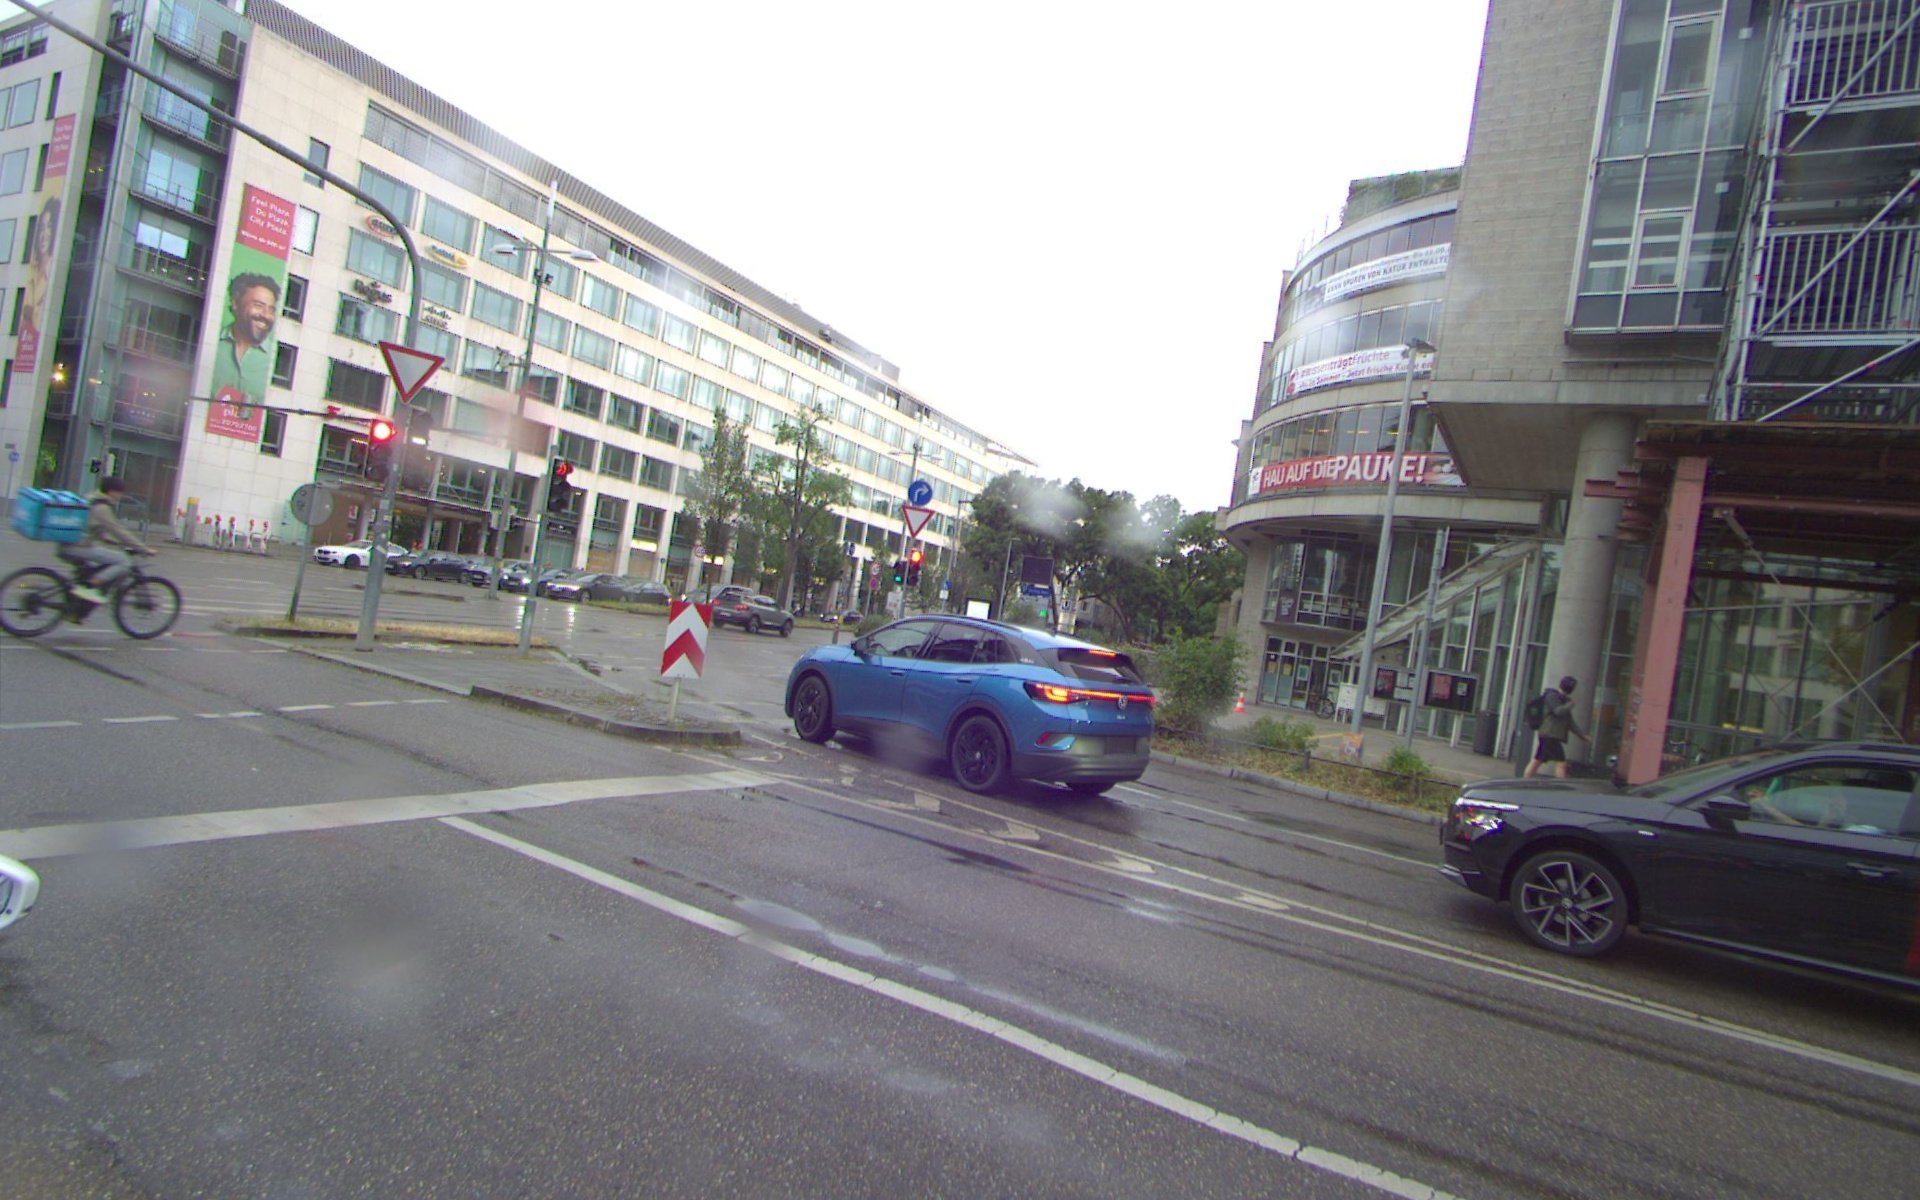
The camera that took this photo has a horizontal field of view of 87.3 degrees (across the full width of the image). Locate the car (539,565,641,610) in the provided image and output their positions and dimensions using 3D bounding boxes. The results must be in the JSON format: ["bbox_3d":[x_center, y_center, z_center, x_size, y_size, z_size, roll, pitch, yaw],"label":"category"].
[{"bbox_3d":[-16.462,-0.526,44.983,1.690,1.481,4.468,7,-2,19],"label":"car"}]

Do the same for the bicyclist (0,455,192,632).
[{"bbox_3d":[-9.493,-0.569,11.052,0.832,1.724,1.300,7,-1,10],"label":"bicyclist"}]

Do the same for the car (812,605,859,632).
[{"bbox_3d":[-9.935,1.505,80.547,1.700,1.642,4.196,9,-1,22],"label":"car"}]

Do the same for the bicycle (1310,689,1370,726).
[{"bbox_3d":[13.436,3.794,35.616,1.816,0.995,0.757,8,-1,12],"label":"bicycle"}]

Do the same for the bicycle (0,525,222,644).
[{"bbox_3d":[-9.542,-0.138,11.115,0.832,1.116,2.155,7,-1,11],"label":"bicycle"}]

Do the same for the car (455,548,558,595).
[{"bbox_3d":[-21.856,-1.331,48.710,1.962,1.616,4.469,7,-1,17],"label":"car"}]

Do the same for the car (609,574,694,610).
[{"bbox_3d":[-16.475,-0.394,53.982,1.891,1.364,4.654,7,-2,19],"label":"car"}]

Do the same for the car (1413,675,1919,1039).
[{"bbox_3d":[5.224,1.549,6.186,4.080,1.558,1.780,7,-1,34],"label":"car"}]

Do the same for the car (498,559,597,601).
[{"bbox_3d":[-19.055,-0.883,46.703,1.690,1.364,4.469,7,-2,17],"label":"car"}]

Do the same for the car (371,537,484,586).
[{"bbox_3d":[-25.185,-1.792,47.783,1.963,1.616,4.468,7,-1,20],"label":"car"}]

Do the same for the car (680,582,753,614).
[{"bbox_3d":[-14.498,-0.096,60.121,1.891,1.364,4.654,7,-2,19],"label":"car"}]

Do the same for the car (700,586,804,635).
[{"bbox_3d":[-8.685,0.486,42.379,1.963,1.568,4.557,7,-1,22],"label":"car"}]

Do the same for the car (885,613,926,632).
[{"bbox_3d":[-5.228,2.170,97.248,1.892,1.364,4.650,7,-2,24],"label":"car"}]

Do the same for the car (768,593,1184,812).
[{"bbox_3d":[-0.043,0.945,10.601,1.699,1.547,4.373,9,-2,-43],"label":"car"}]

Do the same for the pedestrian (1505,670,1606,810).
[{"bbox_3d":[8.876,2.063,14.992,1.040,1.874,0.680,7,0,37],"label":"pedestrian"}]

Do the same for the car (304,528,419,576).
[{"bbox_3d":[-28.636,-2.271,48.312,1.962,1.616,4.469,7,-1,17],"label":"car"}]
